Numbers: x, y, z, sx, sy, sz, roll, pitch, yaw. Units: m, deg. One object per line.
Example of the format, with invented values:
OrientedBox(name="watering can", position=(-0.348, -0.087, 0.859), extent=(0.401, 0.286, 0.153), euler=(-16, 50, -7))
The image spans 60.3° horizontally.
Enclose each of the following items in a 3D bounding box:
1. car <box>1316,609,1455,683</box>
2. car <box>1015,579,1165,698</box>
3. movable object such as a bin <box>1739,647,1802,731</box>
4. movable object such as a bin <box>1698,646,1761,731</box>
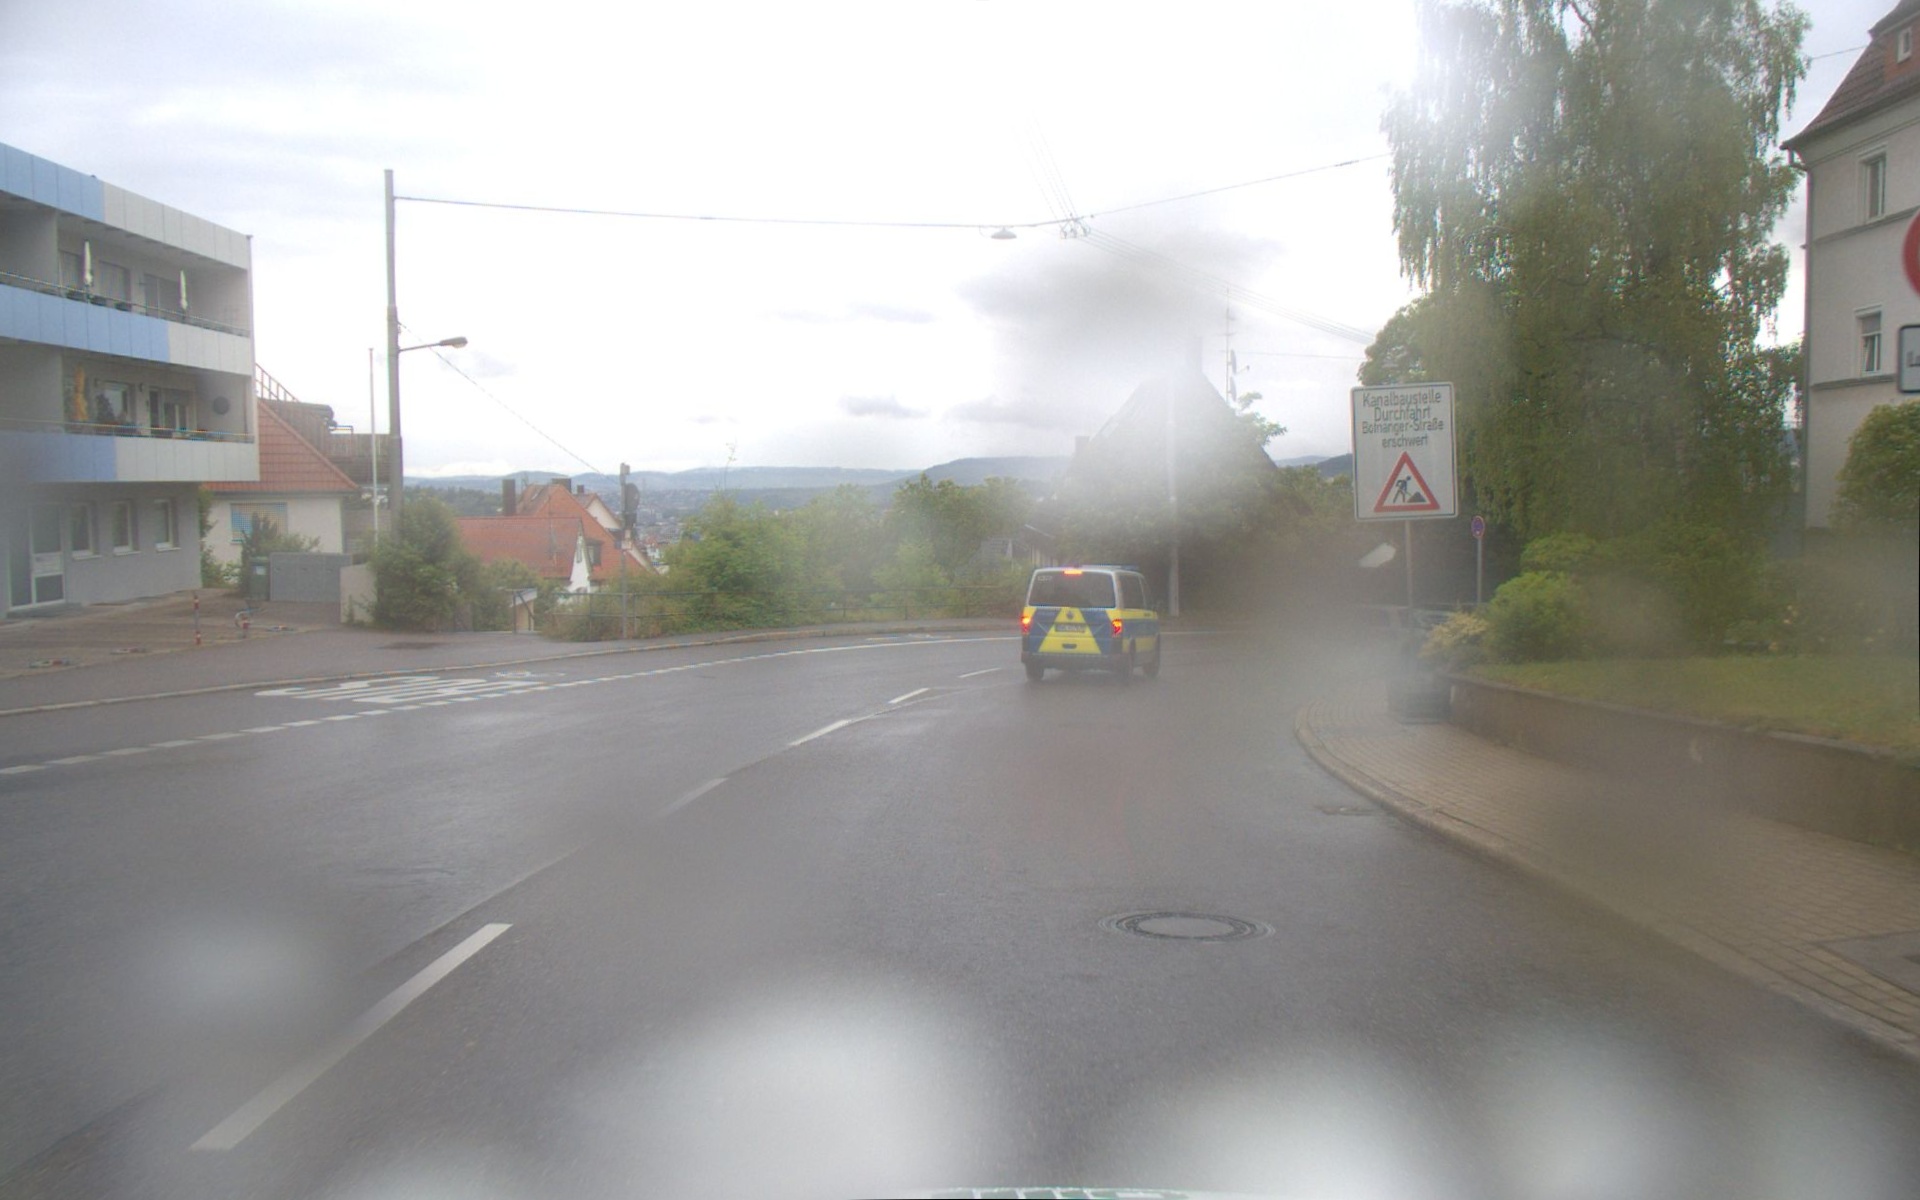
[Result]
OrientedBox(name="car", position=(9.356, 0.970, 36.169), extent=(1.758, 1.471, 4.094), euler=(1, 0, 32))
OrientedBox(name="car", position=(2.423, 0.646, 29.718), extent=(1.951, 1.926, 4.574), euler=(1, 0, 14))
OrientedBox(name="movable object such as a bin", position=(10.324, 1.125, 21.083), extent=(0.518, 1.031, 0.690), euler=(1, -1, 6))
OrientedBox(name="movable object such as a bin", position=(9.713, 1.106, 20.886), extent=(0.518, 1.031, 0.690), euler=(1, -1, 6))
